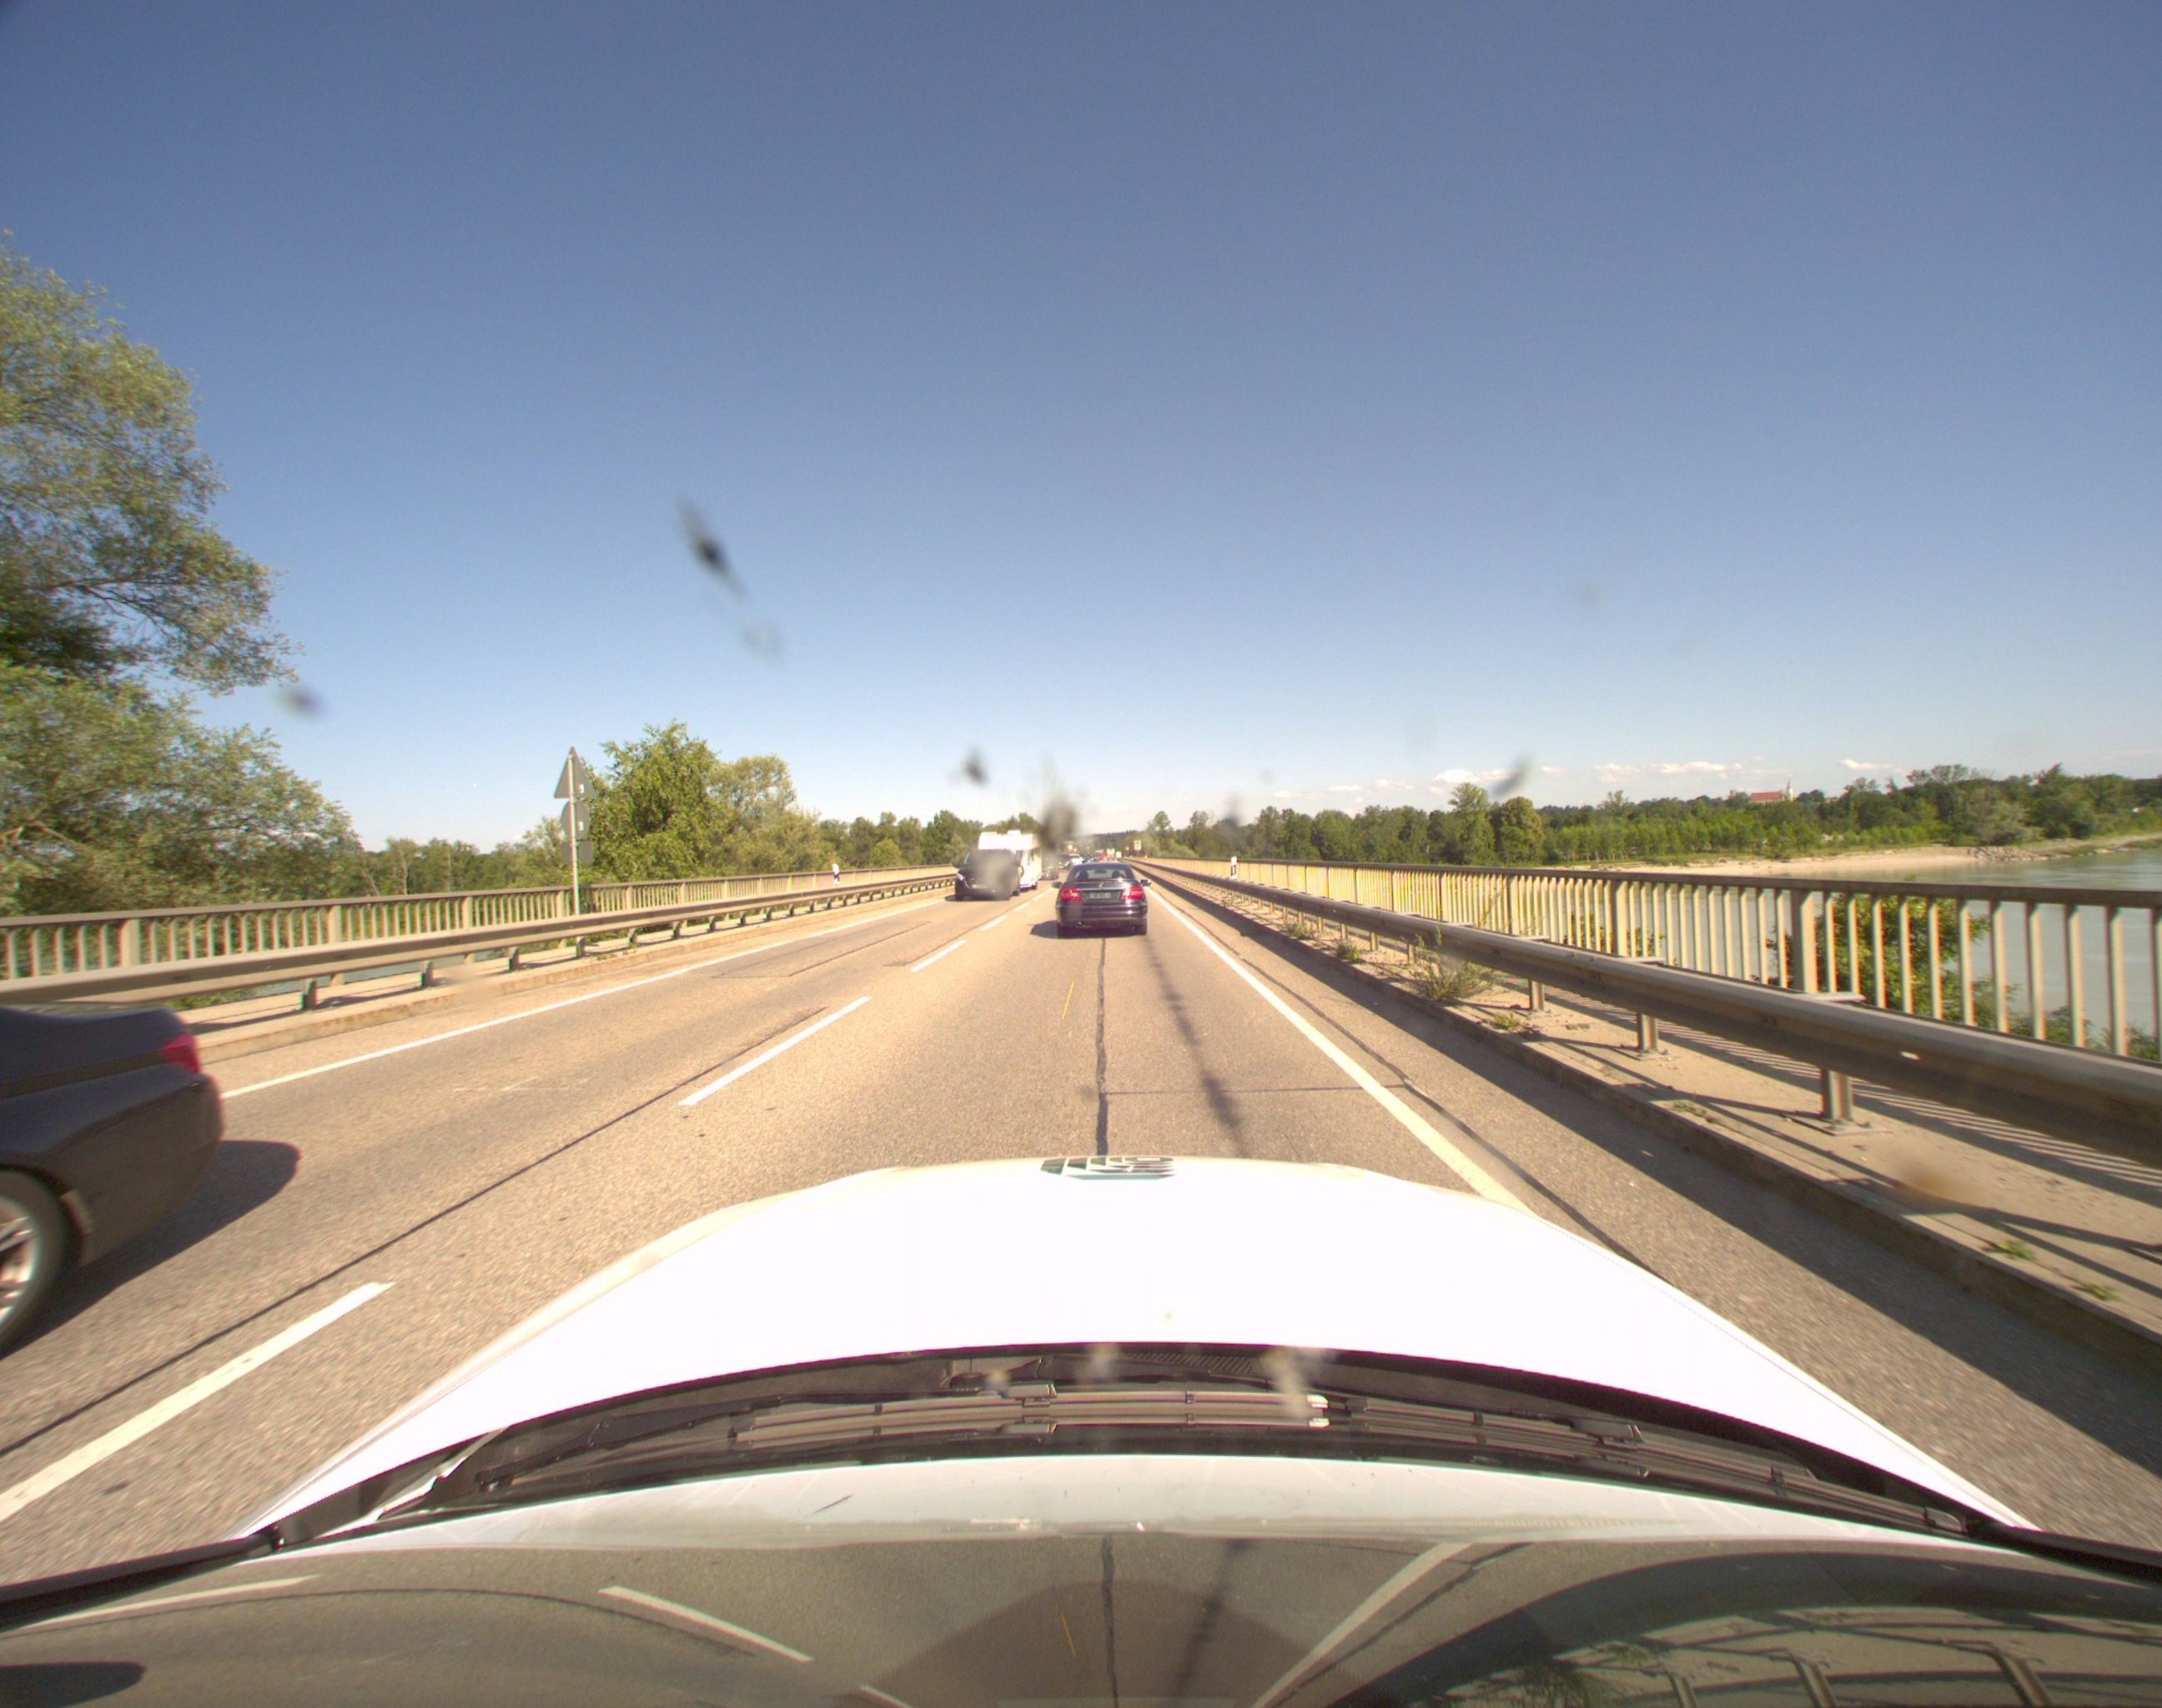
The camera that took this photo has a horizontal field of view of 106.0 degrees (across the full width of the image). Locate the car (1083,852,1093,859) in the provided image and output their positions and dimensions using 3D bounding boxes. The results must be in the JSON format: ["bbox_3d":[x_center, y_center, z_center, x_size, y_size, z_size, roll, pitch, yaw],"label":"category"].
[{"bbox_3d":[1.340,0.314,164.182,1.861,1.444,4.454,-2,0,-1],"label":"car"}]

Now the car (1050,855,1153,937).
[{"bbox_3d":[0.441,0.750,16.405,1.786,1.376,4.002,-1,0,2],"label":"car"}]

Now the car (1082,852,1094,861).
[{"bbox_3d":[1.134,0.418,136.372,1.760,1.447,4.454,-2,0,-1],"label":"car"}]

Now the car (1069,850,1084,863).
[{"bbox_3d":[-0.641,0.322,116.281,2.031,1.873,5.067,0,1,-1],"label":"car"}]

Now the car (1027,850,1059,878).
[{"bbox_3d":[-2.400,0.607,52.623,1.796,1.661,4.433,0,1,0],"label":"car"}]

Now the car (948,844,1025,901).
[{"bbox_3d":[-3.376,0.620,30.202,1.975,1.854,5.012,-2,0,3],"label":"car"}]

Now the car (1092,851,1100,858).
[{"bbox_3d":[3.833,0.148,207.149,1.801,1.577,4.198,-2,0,-1],"label":"car"}]

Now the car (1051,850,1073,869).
[{"bbox_3d":[-1.741,0.525,75.968,1.943,1.693,4.475,0,1,-1],"label":"car"}]

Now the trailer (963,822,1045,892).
[{"bbox_3d":[-3.262,0.087,36.731,2.545,2.737,8.067,-1,0,2],"label":"trailer"}]

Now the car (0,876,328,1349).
[{"bbox_3d":[-4.258,0.847,1.233,1.780,1.420,4.652,-3,0,1],"label":"car"}]

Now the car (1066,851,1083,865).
[{"bbox_3d":[-0.744,0.464,102.036,1.976,1.651,4.599,0,1,1],"label":"car"}]

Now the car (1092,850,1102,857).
[{"bbox_3d":[3.741,-0.141,191.234,2.048,1.652,4.719,0,1,-1],"label":"car"}]
